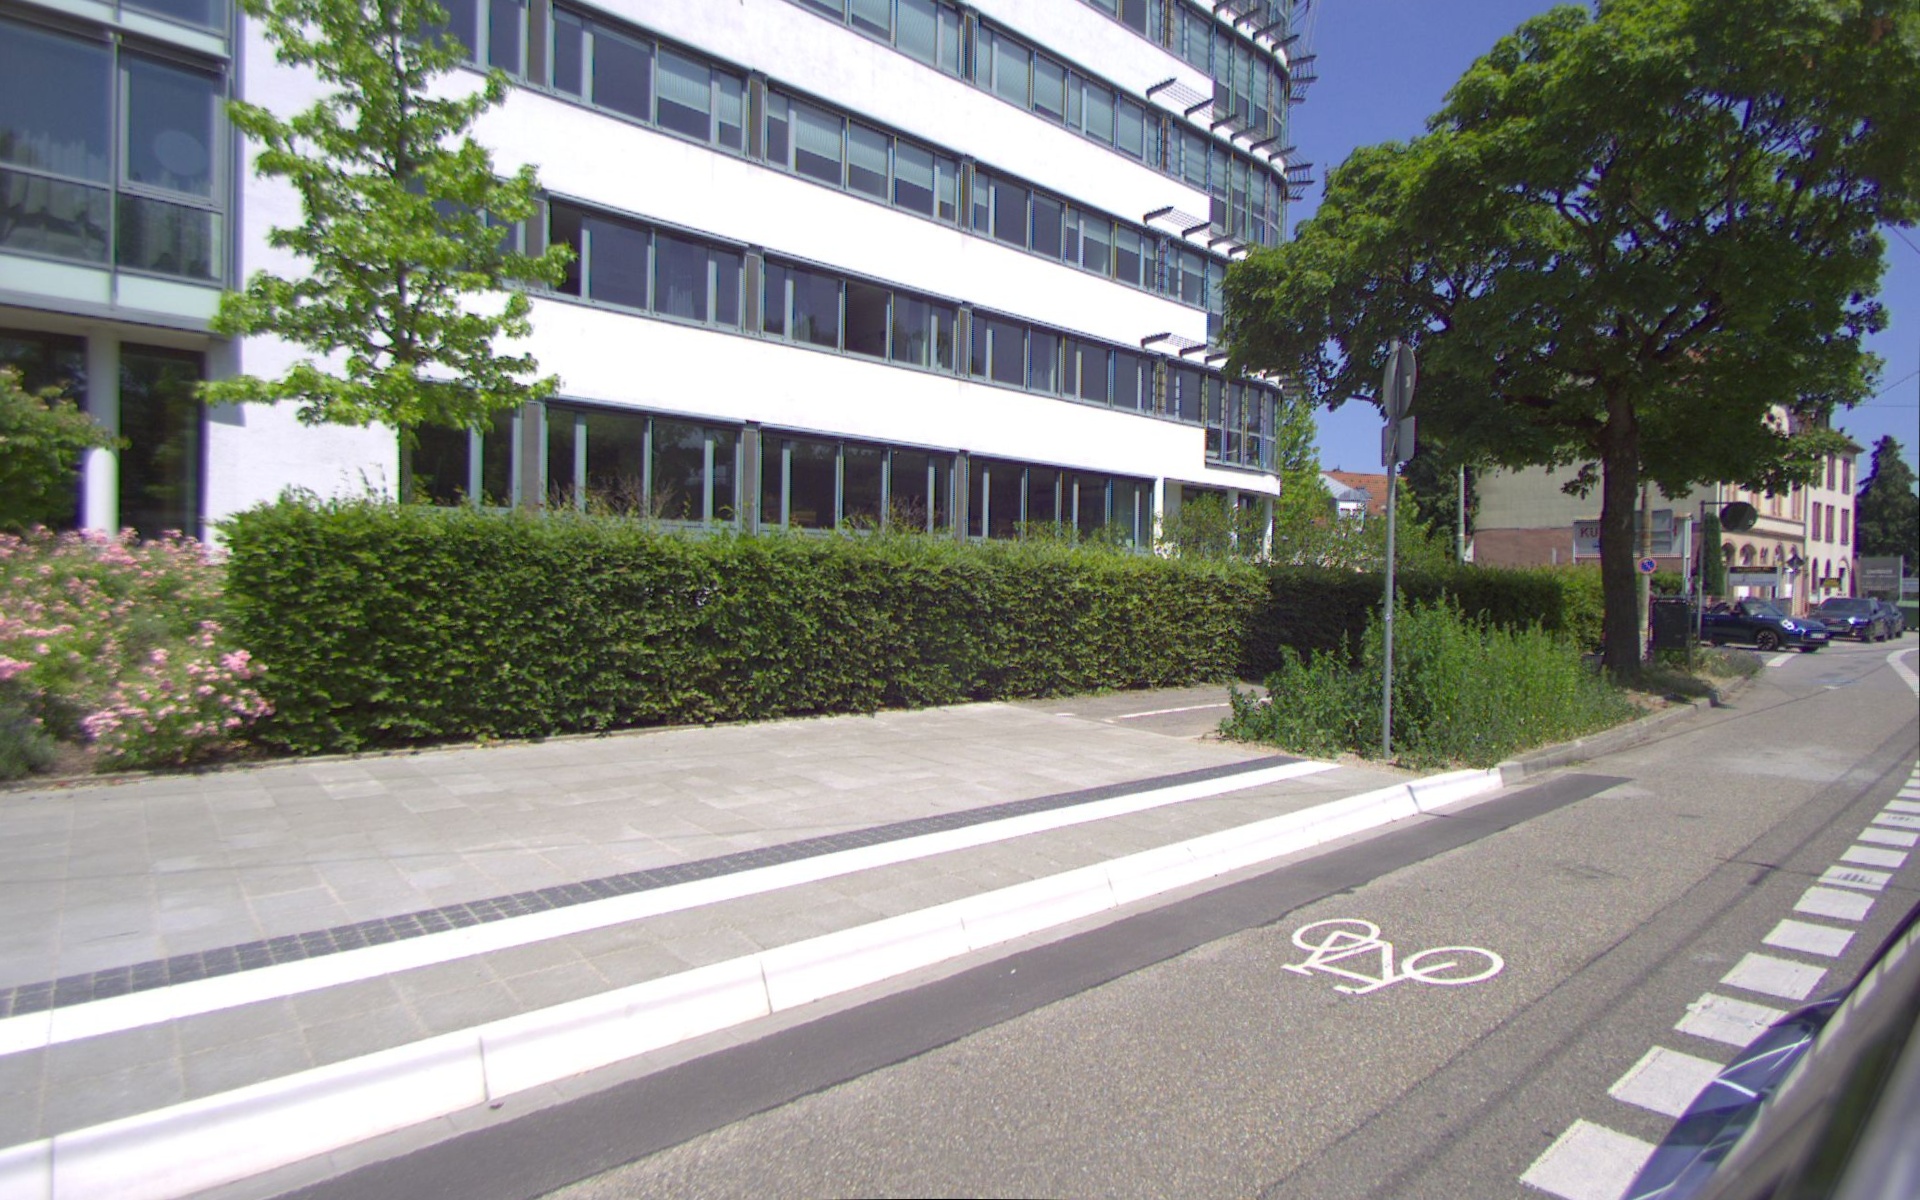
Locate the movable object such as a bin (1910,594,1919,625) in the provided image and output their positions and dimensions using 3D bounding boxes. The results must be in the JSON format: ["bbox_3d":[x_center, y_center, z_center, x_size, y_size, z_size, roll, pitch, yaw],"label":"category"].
[{"bbox_3d":[46.735,0.501,48.746,1.040,1.472,1.325,0,3,-44],"label":"movable object such as a bin"}]

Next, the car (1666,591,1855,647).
[{"bbox_3d":[22.517,0.488,28.668,1.667,1.388,3.936,0,2,-16],"label":"car"}]

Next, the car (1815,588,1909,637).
[{"bbox_3d":[35.089,0.457,39.317,4.991,1.713,1.929,0,3,-40],"label":"car"}]

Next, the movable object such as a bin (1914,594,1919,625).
[{"bbox_3d":[47.547,0.489,49.422,1.040,1.472,1.249,0,3,-44],"label":"movable object such as a bin"}]

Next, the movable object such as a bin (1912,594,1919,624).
[{"bbox_3d":[48.283,0.480,50.205,1.120,1.472,1.394,0,3,-44],"label":"movable object such as a bin"}]

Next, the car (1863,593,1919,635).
[{"bbox_3d":[40.111,0.556,43.141,4.389,1.567,1.776,-1,4,-41],"label":"car"}]

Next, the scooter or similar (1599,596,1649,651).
[{"bbox_3d":[14.973,0.521,22.809,1.127,1.238,0.327,0,-1,-19],"label":"scooter or similar"}]
